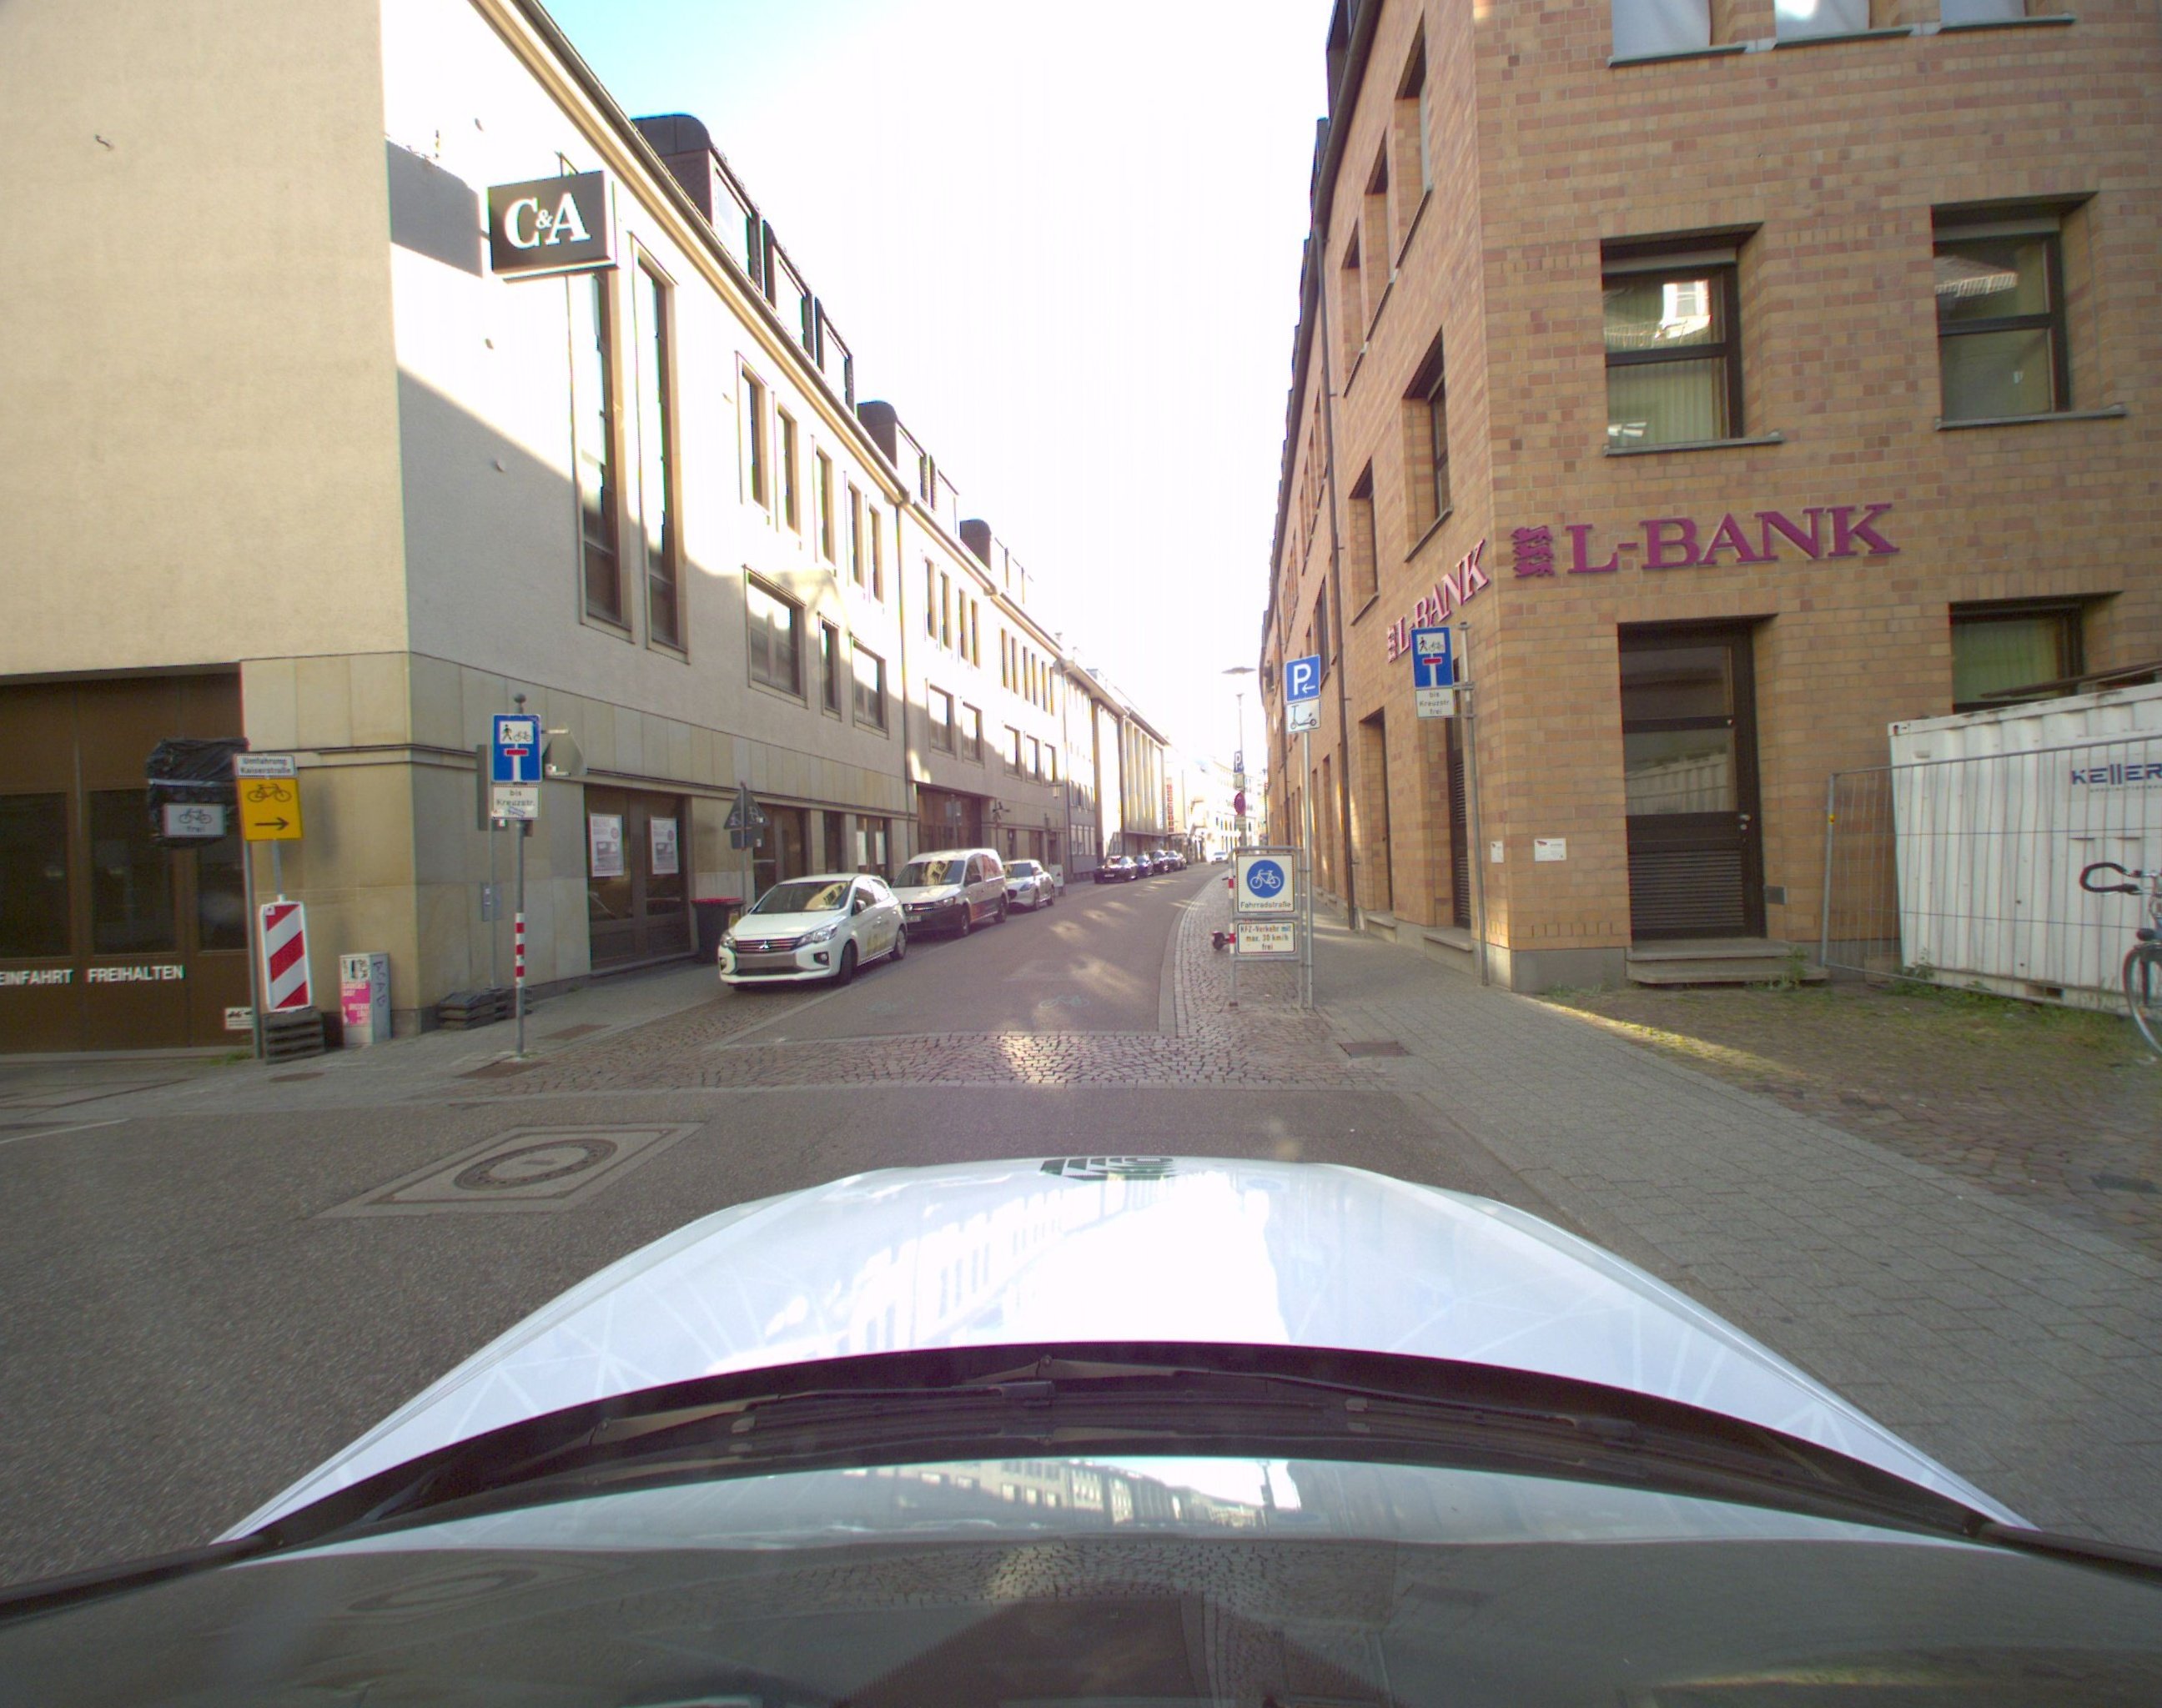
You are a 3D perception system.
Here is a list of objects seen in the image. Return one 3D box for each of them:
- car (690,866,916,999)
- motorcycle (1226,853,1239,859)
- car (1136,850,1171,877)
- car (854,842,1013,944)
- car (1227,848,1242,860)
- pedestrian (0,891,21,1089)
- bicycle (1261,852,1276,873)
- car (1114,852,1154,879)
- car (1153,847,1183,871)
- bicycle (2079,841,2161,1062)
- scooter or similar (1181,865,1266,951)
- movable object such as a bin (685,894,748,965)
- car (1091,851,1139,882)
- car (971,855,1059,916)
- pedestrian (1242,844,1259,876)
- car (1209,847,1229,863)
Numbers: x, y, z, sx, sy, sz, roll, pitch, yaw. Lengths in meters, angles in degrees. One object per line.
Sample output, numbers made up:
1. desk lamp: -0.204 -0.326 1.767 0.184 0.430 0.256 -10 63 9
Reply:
1. car: -3.871 1.016 12.092 1.729 1.492 3.804 -4 0 4
2. motorcycle: 21.475 0.320 115.497 1.677 0.859 0.597 -1 -1 19
3. car: 5.052 0.610 56.534 1.878 1.675 4.567 -3 0 11
4. car: -3.052 0.738 18.014 1.888 1.857 4.745 -4 0 9
5. car: 20.781 -0.043 110.330 1.627 1.517 4.176 -3 0 14
6. pedestrian: -10.561 1.297 7.385 0.858 1.854 0.714 -4 -1 -8
7. bicycle: 10.385 0.447 45.218 0.546 1.103 1.987 -6 0 9
8. car: 3.381 0.688 50.868 1.878 1.530 4.353 -3 0 11
9. car: 6.845 0.336 63.871 1.878 1.742 4.404 -3 0 11
10. bicycle: 6.195 0.559 4.348 0.316 1.250 1.591 -2 0 21
11. scooter or similar: 2.277 0.828 12.951 1.427 1.235 0.532 -2 1 -42
12. movable object such as a bin: -5.915 1.214 13.240 0.733 1.101 0.592 0 -1 5
13. car: 1.926 0.648 44.693 1.878 1.530 4.743 -3 0 11
14. car: -1.881 0.872 24.301 1.660 1.522 3.785 -5 0 8
15. pedestrian: 9.227 0.318 44.374 0.755 1.716 0.824 -4 -1 10
16. car: 14.736 0.104 86.894 1.702 1.517 4.177 -3 0 15
